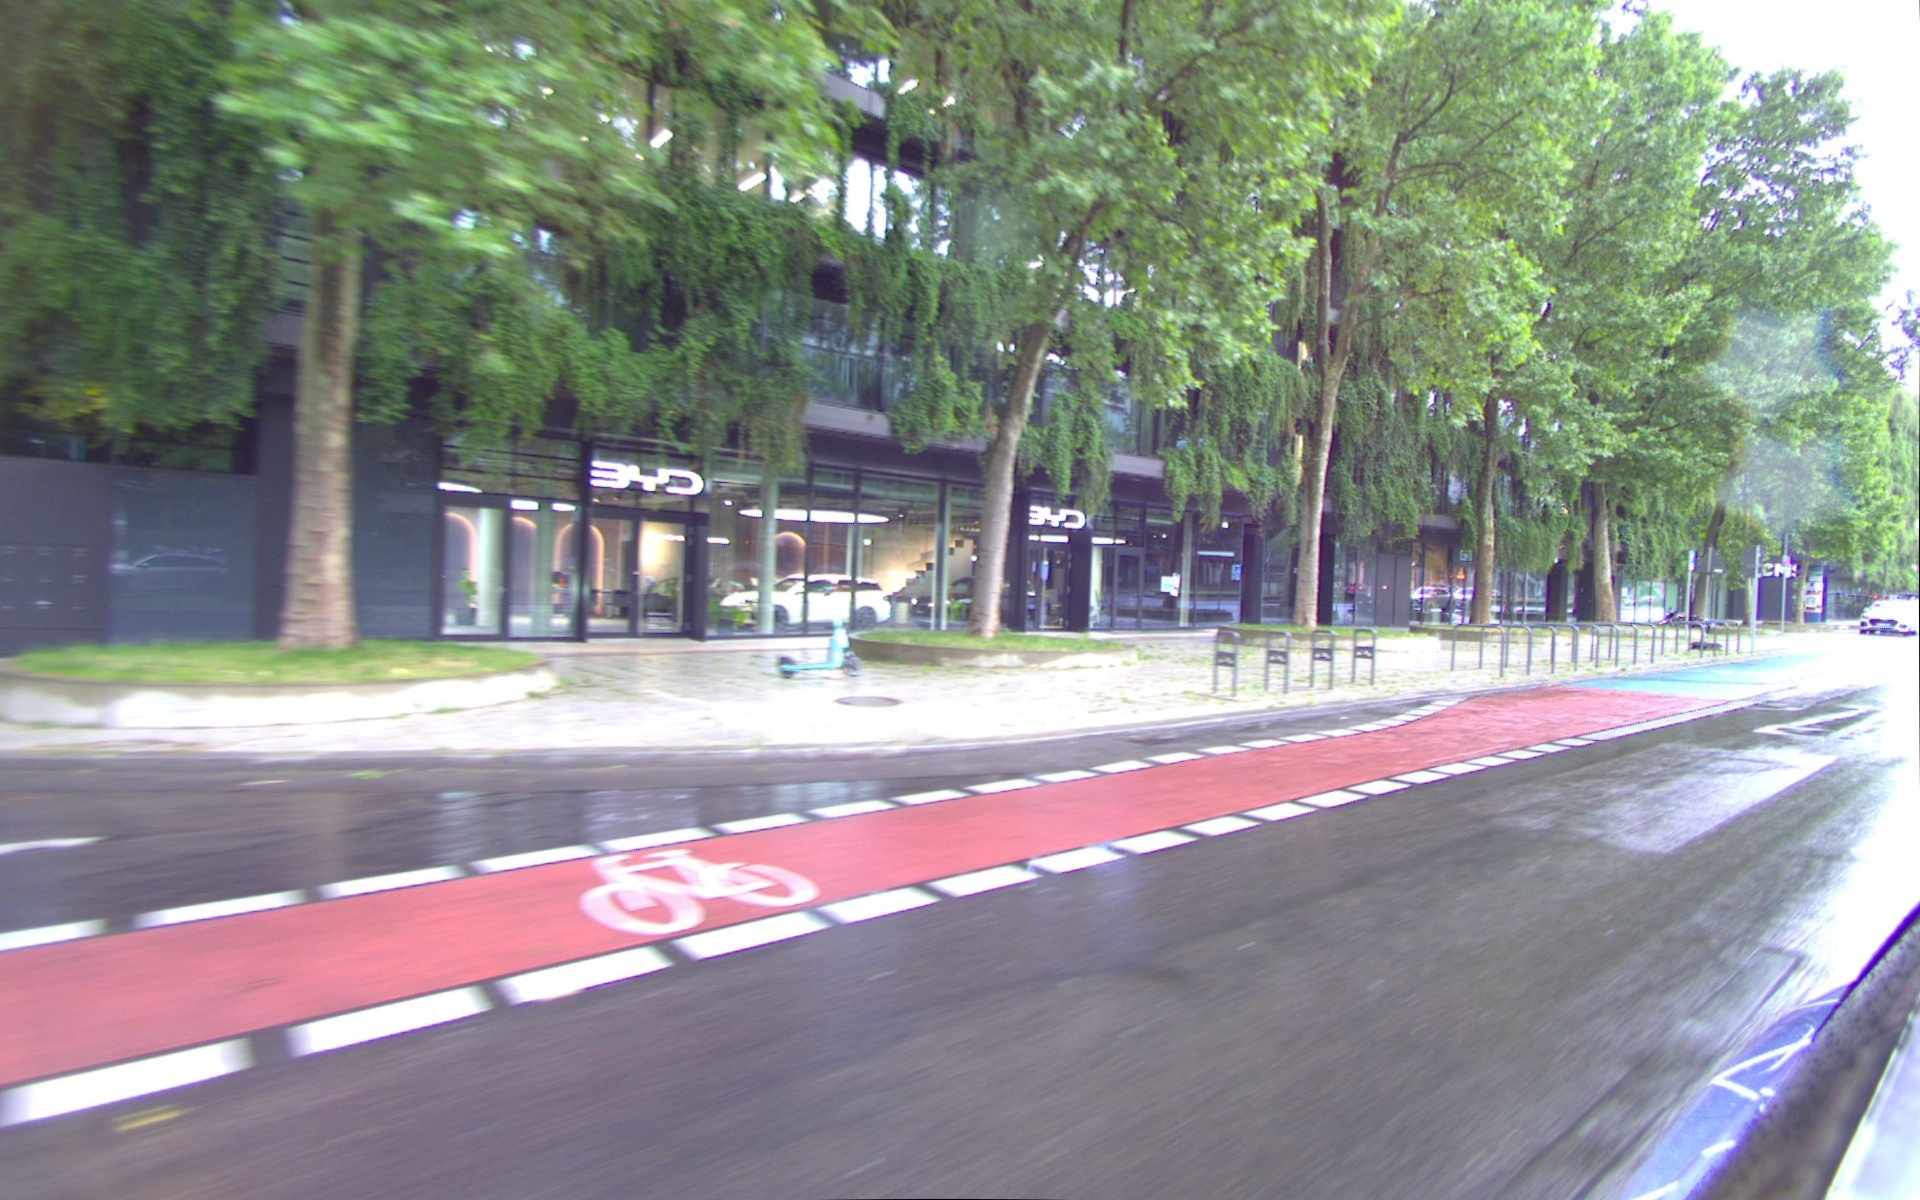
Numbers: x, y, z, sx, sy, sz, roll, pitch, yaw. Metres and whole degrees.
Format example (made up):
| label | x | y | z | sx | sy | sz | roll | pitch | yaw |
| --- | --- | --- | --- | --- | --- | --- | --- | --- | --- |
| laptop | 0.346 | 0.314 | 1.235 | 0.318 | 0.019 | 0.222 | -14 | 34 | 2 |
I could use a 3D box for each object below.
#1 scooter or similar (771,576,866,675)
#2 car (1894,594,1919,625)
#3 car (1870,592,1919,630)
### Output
| label | x | y | z | sx | sy | sz | roll | pitch | yaw |
| --- | --- | --- | --- | --- | --- | --- | --- | --- | --- |
| scooter or similar | -1.886 | 0.330 | 13.569 | 1.165 | 1.298 | 0.535 | 0 | 0 | 10 |
| car | 51.261 | 0.477 | 53.600 | 4.503 | 1.581 | 2.035 | -1 | 1 | -39 |
| car | 46.549 | 0.494 | 49.930 | 4.519 | 1.757 | 1.930 | -1 | 1 | -41 |
